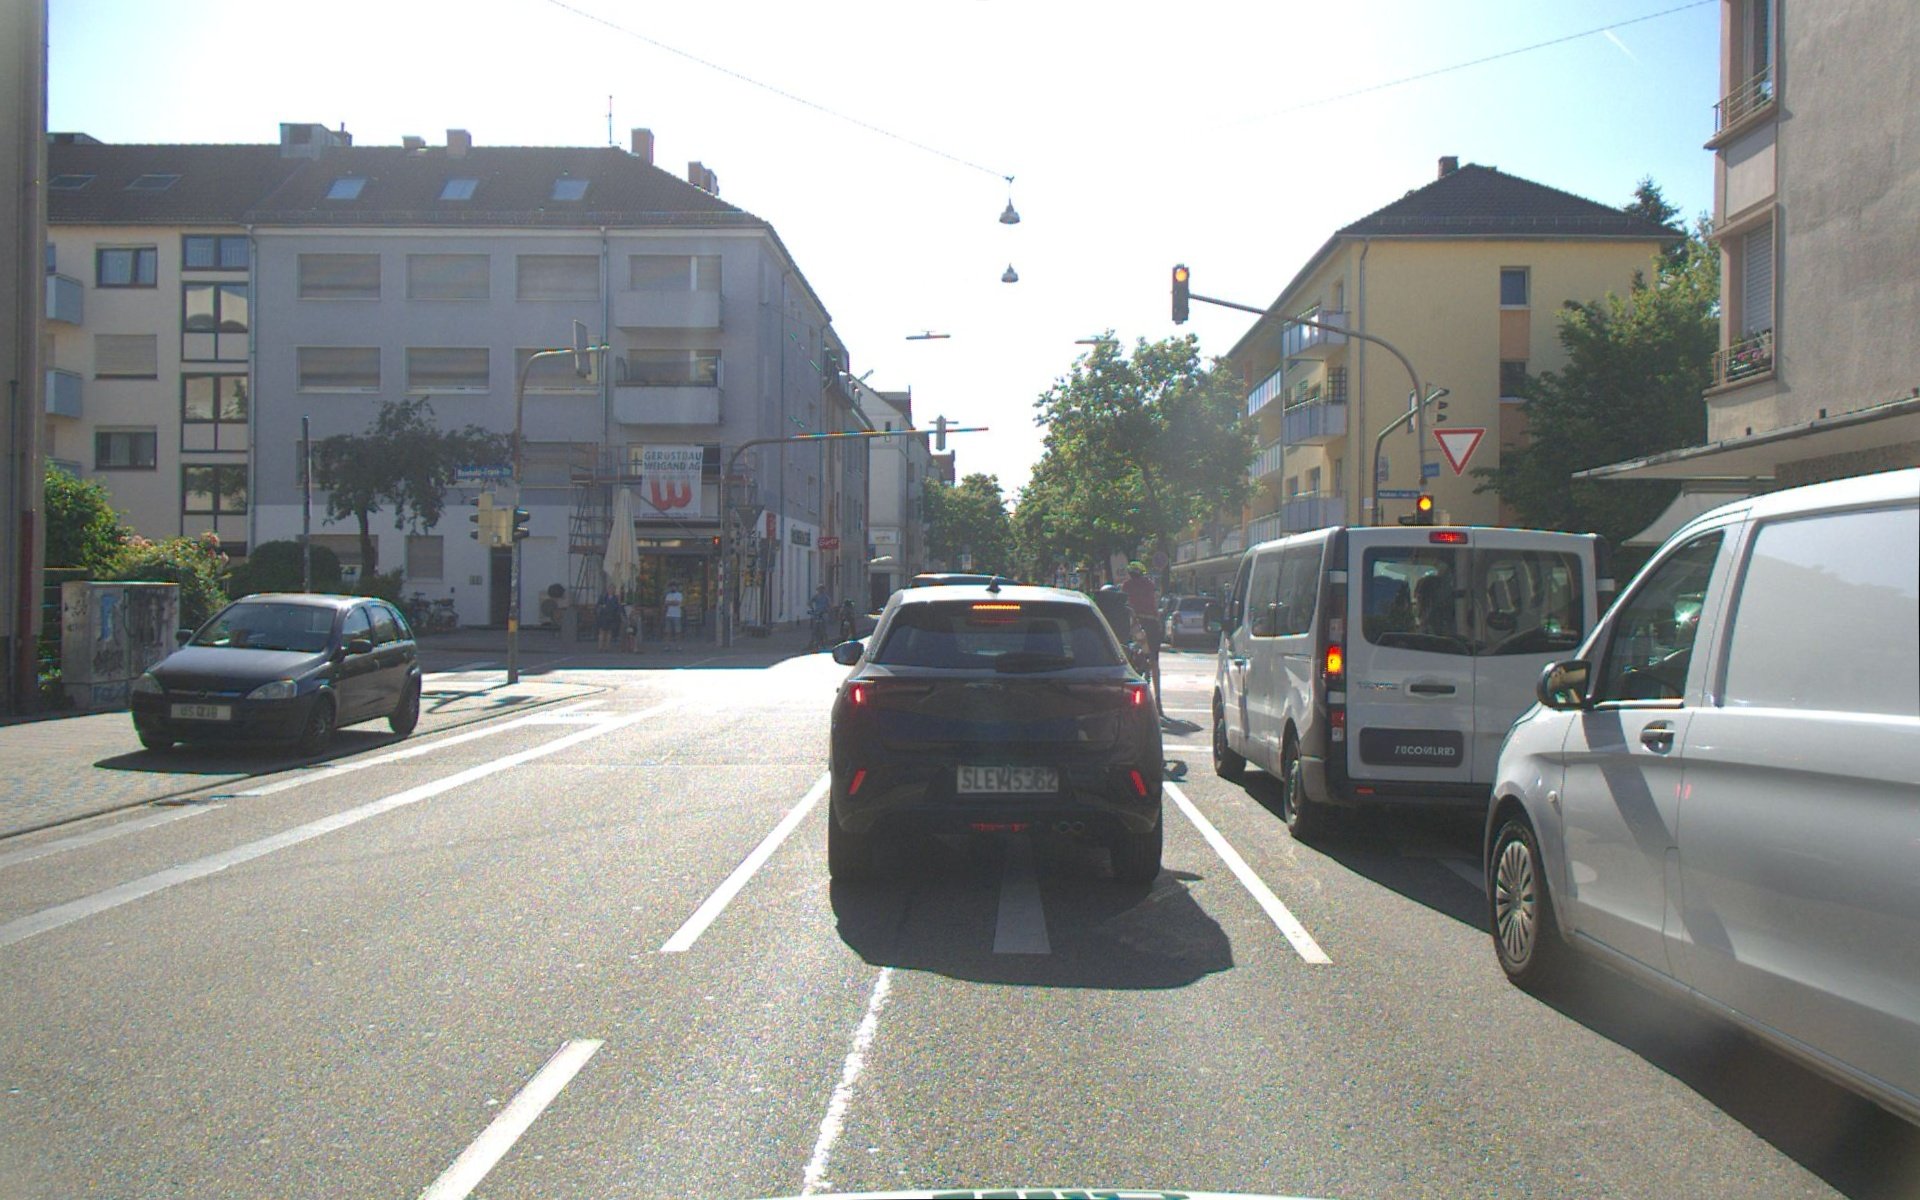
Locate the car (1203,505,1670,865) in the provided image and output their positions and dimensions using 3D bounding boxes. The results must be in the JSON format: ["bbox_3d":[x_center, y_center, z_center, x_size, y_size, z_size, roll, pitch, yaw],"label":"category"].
[{"bbox_3d":[3.123,0.478,12.035,1.953,2.014,4.895,2,0,0],"label":"car"}]

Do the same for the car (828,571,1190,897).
[{"bbox_3d":[0.227,0.636,9.993,1.734,1.557,4.000,1,0,0],"label":"car"}]

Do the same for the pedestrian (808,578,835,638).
[{"bbox_3d":[-3.966,0.215,47.435,0.692,1.707,0.802,0,0,-1],"label":"pedestrian"}]

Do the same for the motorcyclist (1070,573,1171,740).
[{"bbox_3d":[1.512,0.512,15.757,0.846,1.528,1.160,0,0,0],"label":"motorcyclist"}]

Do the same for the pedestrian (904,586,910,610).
[{"bbox_3d":[-3.821,-0.118,118.742,0.393,1.704,0.418,0,0,1],"label":"pedestrian"}]

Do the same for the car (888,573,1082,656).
[{"bbox_3d":[0.575,0.291,37.121,4.023,1.758,1.886,0,0,-34],"label":"car"}]

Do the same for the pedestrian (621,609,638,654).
[{"bbox_3d":[-8.250,0.777,41.319,0.348,1.111,0.462,0,0,-2],"label":"pedestrian"}]

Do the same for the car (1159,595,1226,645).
[{"bbox_3d":[7.087,0.580,50.678,1.600,1.458,3.957,0,0,1],"label":"car"}]

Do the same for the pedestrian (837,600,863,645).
[{"bbox_3d":[-3.150,0.647,47.422,0.692,1.275,0.802,0,0,-1],"label":"pedestrian"}]

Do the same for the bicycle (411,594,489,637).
[{"bbox_3d":[-14.450,0.429,46.906,2.065,1.193,0.735,0,0,-22],"label":"bicycle"}]

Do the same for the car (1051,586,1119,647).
[{"bbox_3d":[3.728,0.459,49.840,1.862,1.758,4.001,0,0,2],"label":"car"}]

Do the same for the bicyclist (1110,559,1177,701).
[{"bbox_3d":[2.319,0.365,21.020,0.675,1.742,1.414,0,0,0],"label":"bicyclist"}]

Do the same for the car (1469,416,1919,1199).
[{"bbox_3d":[3.107,0.548,4.619,1.799,1.901,4.996,2,0,0],"label":"car"}]

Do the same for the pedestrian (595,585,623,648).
[{"bbox_3d":[-8.766,0.411,41.273,0.572,1.547,0.649,0,0,-2],"label":"pedestrian"}]

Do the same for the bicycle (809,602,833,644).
[{"bbox_3d":[-4.001,0.658,47.699,0.511,1.167,2.283,0,0,0],"label":"bicycle"}]

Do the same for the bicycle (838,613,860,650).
[{"bbox_3d":[-3.186,0.901,47.617,0.511,1.010,2.339,0,0,0],"label":"bicycle"}]

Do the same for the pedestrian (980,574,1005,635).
[{"bbox_3d":[0.916,0.119,47.221,0.692,1.730,0.802,0,0,-1],"label":"pedestrian"}]

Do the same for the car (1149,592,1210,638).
[{"bbox_3d":[7.307,0.475,55.429,1.600,1.458,4.001,0,0,1],"label":"car"}]

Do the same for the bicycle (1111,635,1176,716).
[{"bbox_3d":[2.328,0.943,21.176,0.565,0.920,2.301,0,0,0],"label":"bicycle"}]

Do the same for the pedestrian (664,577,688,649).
[{"bbox_3d":[-7.197,0.318,41.918,0.550,1.806,0.583,0,0,-7],"label":"pedestrian"}]

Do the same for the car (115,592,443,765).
[{"bbox_3d":[-6.524,0.675,16.289,1.583,1.450,3.711,2,0,1],"label":"car"}]

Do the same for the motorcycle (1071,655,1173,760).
[{"bbox_3d":[1.505,0.993,15.690,0.808,0.860,1.885,0,0,1],"label":"motorcycle"}]
